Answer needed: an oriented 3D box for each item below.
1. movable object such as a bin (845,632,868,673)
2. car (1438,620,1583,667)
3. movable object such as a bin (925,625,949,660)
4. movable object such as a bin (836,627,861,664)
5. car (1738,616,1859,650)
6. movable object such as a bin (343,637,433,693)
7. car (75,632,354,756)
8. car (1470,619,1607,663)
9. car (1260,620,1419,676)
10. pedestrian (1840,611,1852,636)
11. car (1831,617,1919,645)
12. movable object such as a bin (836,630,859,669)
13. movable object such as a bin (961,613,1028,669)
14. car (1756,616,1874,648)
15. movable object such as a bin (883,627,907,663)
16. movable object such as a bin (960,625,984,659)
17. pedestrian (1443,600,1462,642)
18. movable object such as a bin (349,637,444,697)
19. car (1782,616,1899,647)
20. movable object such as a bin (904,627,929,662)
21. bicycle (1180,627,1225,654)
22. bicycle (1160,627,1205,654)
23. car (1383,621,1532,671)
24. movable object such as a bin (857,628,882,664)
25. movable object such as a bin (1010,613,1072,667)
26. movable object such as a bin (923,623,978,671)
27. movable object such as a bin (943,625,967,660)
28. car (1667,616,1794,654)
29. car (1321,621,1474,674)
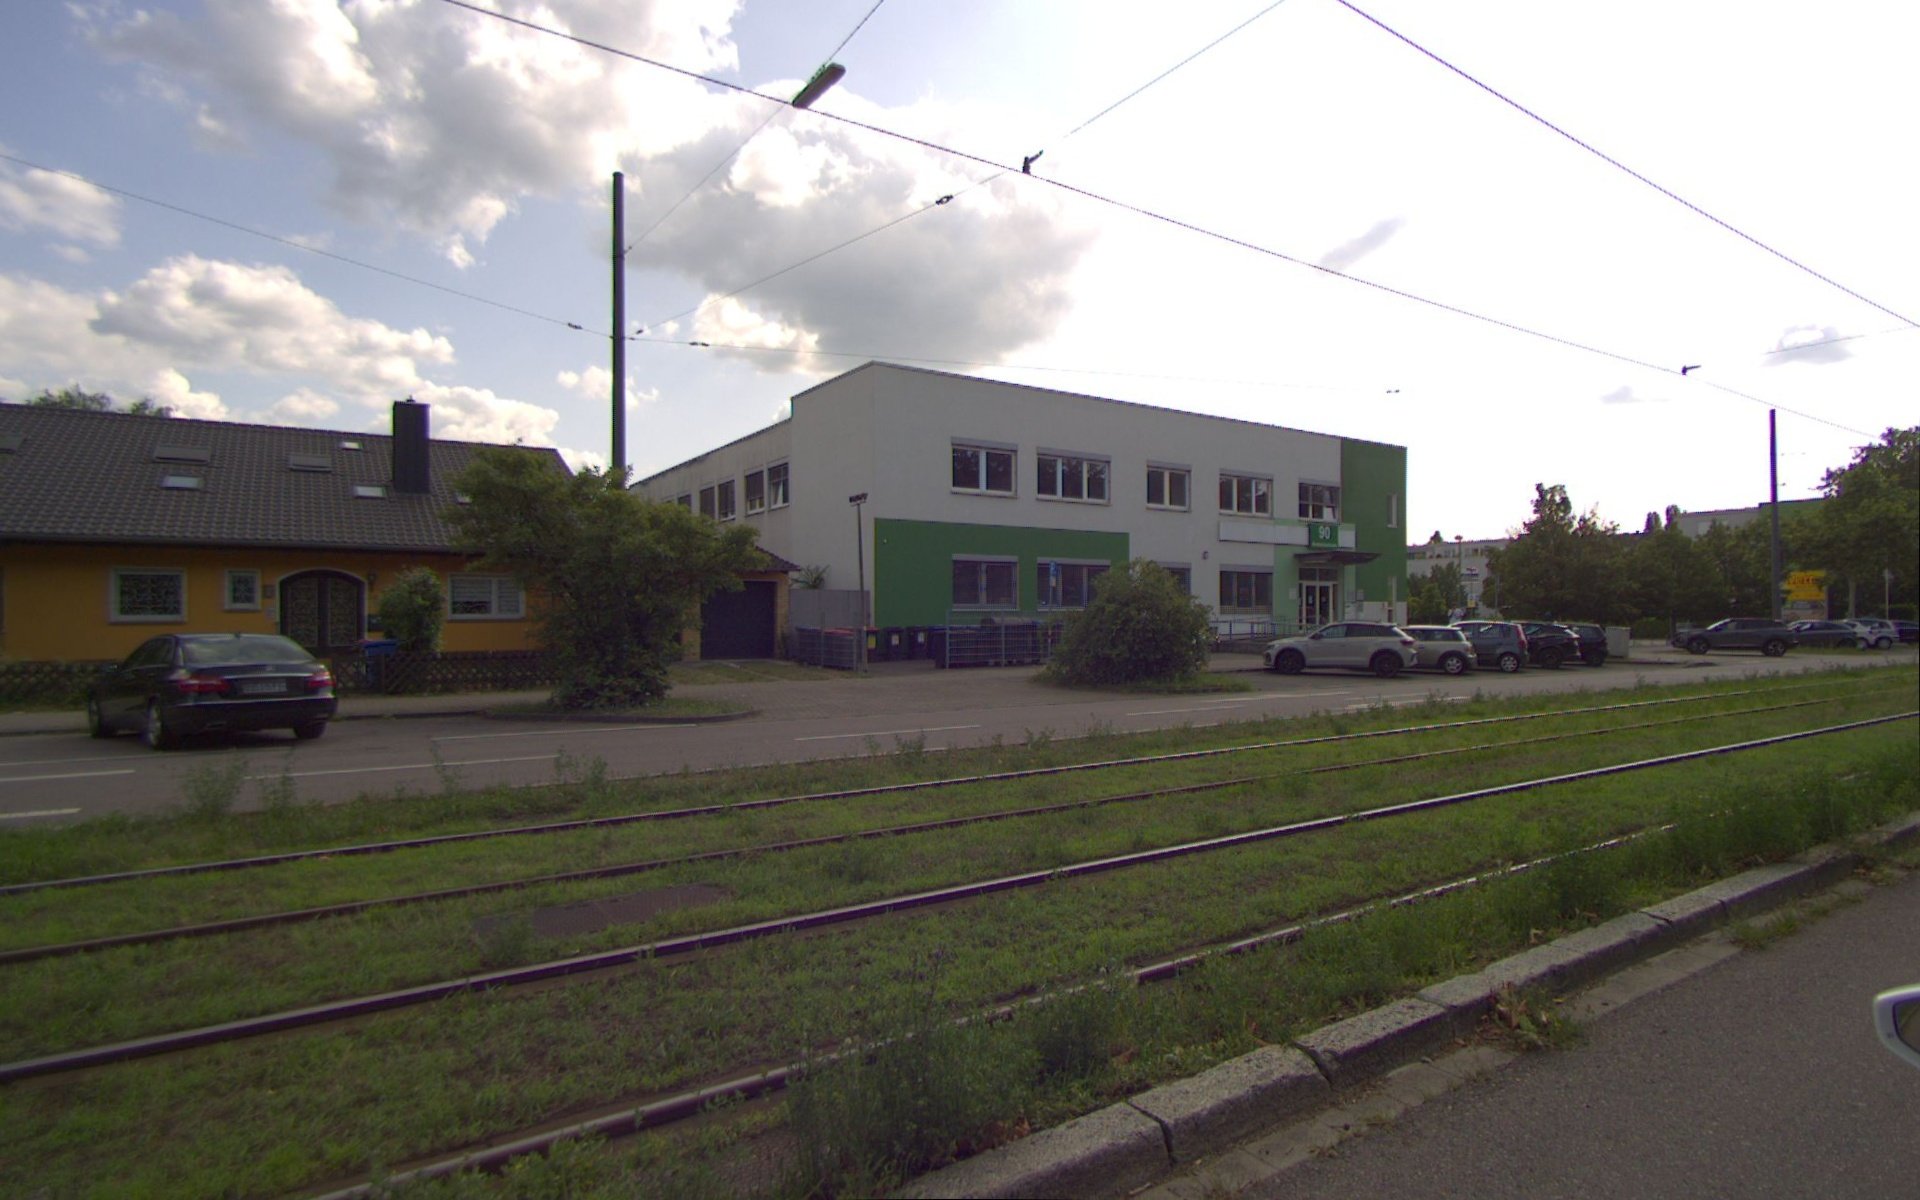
[{"bbox_3d":[-2.825,1.424,27.426,0.476,1.056,0.501,-1,1,-33],"label":"movable object such as a bin"},{"bbox_3d":[18.483,1.450,33.879,4.158,1.501,1.881,-1,-1,28],"label":"car"},{"bbox_3d":[-0.720,1.347,32.004,0.558,1.056,0.565,-1,1,-33],"label":"movable object such as a bin"},{"bbox_3d":[-3.351,1.361,30.254,0.558,1.056,0.565,-1,1,-33],"label":"movable object such as a bin"},{"bbox_3d":[41.008,1.585,49.241,4.152,1.502,1.883,1,0,21],"label":"car"},{"bbox_3d":[-12.323,1.363,21.627,1.601,1.107,1.246,0,-1,-34],"label":"movable object such as a bin"},{"bbox_3d":[-10.308,1.170,13.772,4.578,1.425,1.876,-1,-3,37],"label":"car"},{"bbox_3d":[20.619,1.450,35.995,4.158,1.501,1.881,-1,-1,28],"label":"car"},{"bbox_3d":[10.941,1.356,29.017,4.154,1.501,1.882,-1,-1,23],"label":"car"},{"bbox_3d":[59.178,1.569,67.115,0.597,1.699,0.463,0,-1,-35],"label":"pedestrian"},{"bbox_3d":[52.600,1.761,57.192,4.150,1.502,1.884,1,0,18],"label":"car"},{"bbox_3d":[-3.119,1.372,27.897,0.474,1.056,0.490,-1,1,-33],"label":"movable object such as a bin"},{"bbox_3d":[1.013,1.170,29.311,1.692,1.540,1.000,-1,1,-31],"label":"movable object such as a bin"},{"bbox_3d":[43.331,1.590,51.040,4.152,1.502,1.883,1,0,21],"label":"car"},{"bbox_3d":[-2.017,1.390,31.197,0.558,1.056,0.565,-1,1,-33],"label":"movable object such as a bin"},{"bbox_3d":[0.380,1.359,32.704,0.558,1.056,0.565,-1,1,-33],"label":"movable object such as a bin"},{"bbox_3d":[21.849,0.939,44.568,0.504,1.852,0.542,0,-1,-35],"label":"pedestrian"},{"bbox_3d":[-11.477,1.333,20.440,1.601,1.115,1.246,0,-1,-34],"label":"movable object such as a bin"},{"bbox_3d":[45.953,1.640,52.521,4.152,1.502,1.883,1,0,21],"label":"car"},{"bbox_3d":[-1.369,1.391,31.592,0.558,1.056,0.565,-1,1,-33],"label":"movable object such as a bin"},{"bbox_3d":[9.173,1.514,37.993,0.454,0.911,1.847,1,0,-32],"label":"bicycle"},{"bbox_3d":[8.279,1.497,37.451,0.454,0.911,1.847,1,0,-32],"label":"bicycle"},{"bbox_3d":[15.901,1.455,32.216,4.158,1.501,1.881,-1,-1,28],"label":"car"},{"bbox_3d":[-2.756,1.387,30.675,0.558,1.056,0.565,-1,1,-33],"label":"movable object such as a bin"},{"bbox_3d":[2.431,1.180,30.209,1.586,1.540,1.001,-1,1,-31],"label":"movable object such as a bin"},{"bbox_3d":[-0.276,1.319,28.508,1.242,1.251,1.001,-1,1,-31],"label":"movable object such as a bin"},{"bbox_3d":[-0.165,1.362,32.338,0.558,1.056,0.565,-1,1,-33],"label":"movable object such as a bin"},{"bbox_3d":[33.038,1.477,43.213,4.162,1.502,1.879,1,0,33],"label":"car"},{"bbox_3d":[13.330,1.416,30.624,4.158,1.501,1.881,-1,-1,28],"label":"car"}]
